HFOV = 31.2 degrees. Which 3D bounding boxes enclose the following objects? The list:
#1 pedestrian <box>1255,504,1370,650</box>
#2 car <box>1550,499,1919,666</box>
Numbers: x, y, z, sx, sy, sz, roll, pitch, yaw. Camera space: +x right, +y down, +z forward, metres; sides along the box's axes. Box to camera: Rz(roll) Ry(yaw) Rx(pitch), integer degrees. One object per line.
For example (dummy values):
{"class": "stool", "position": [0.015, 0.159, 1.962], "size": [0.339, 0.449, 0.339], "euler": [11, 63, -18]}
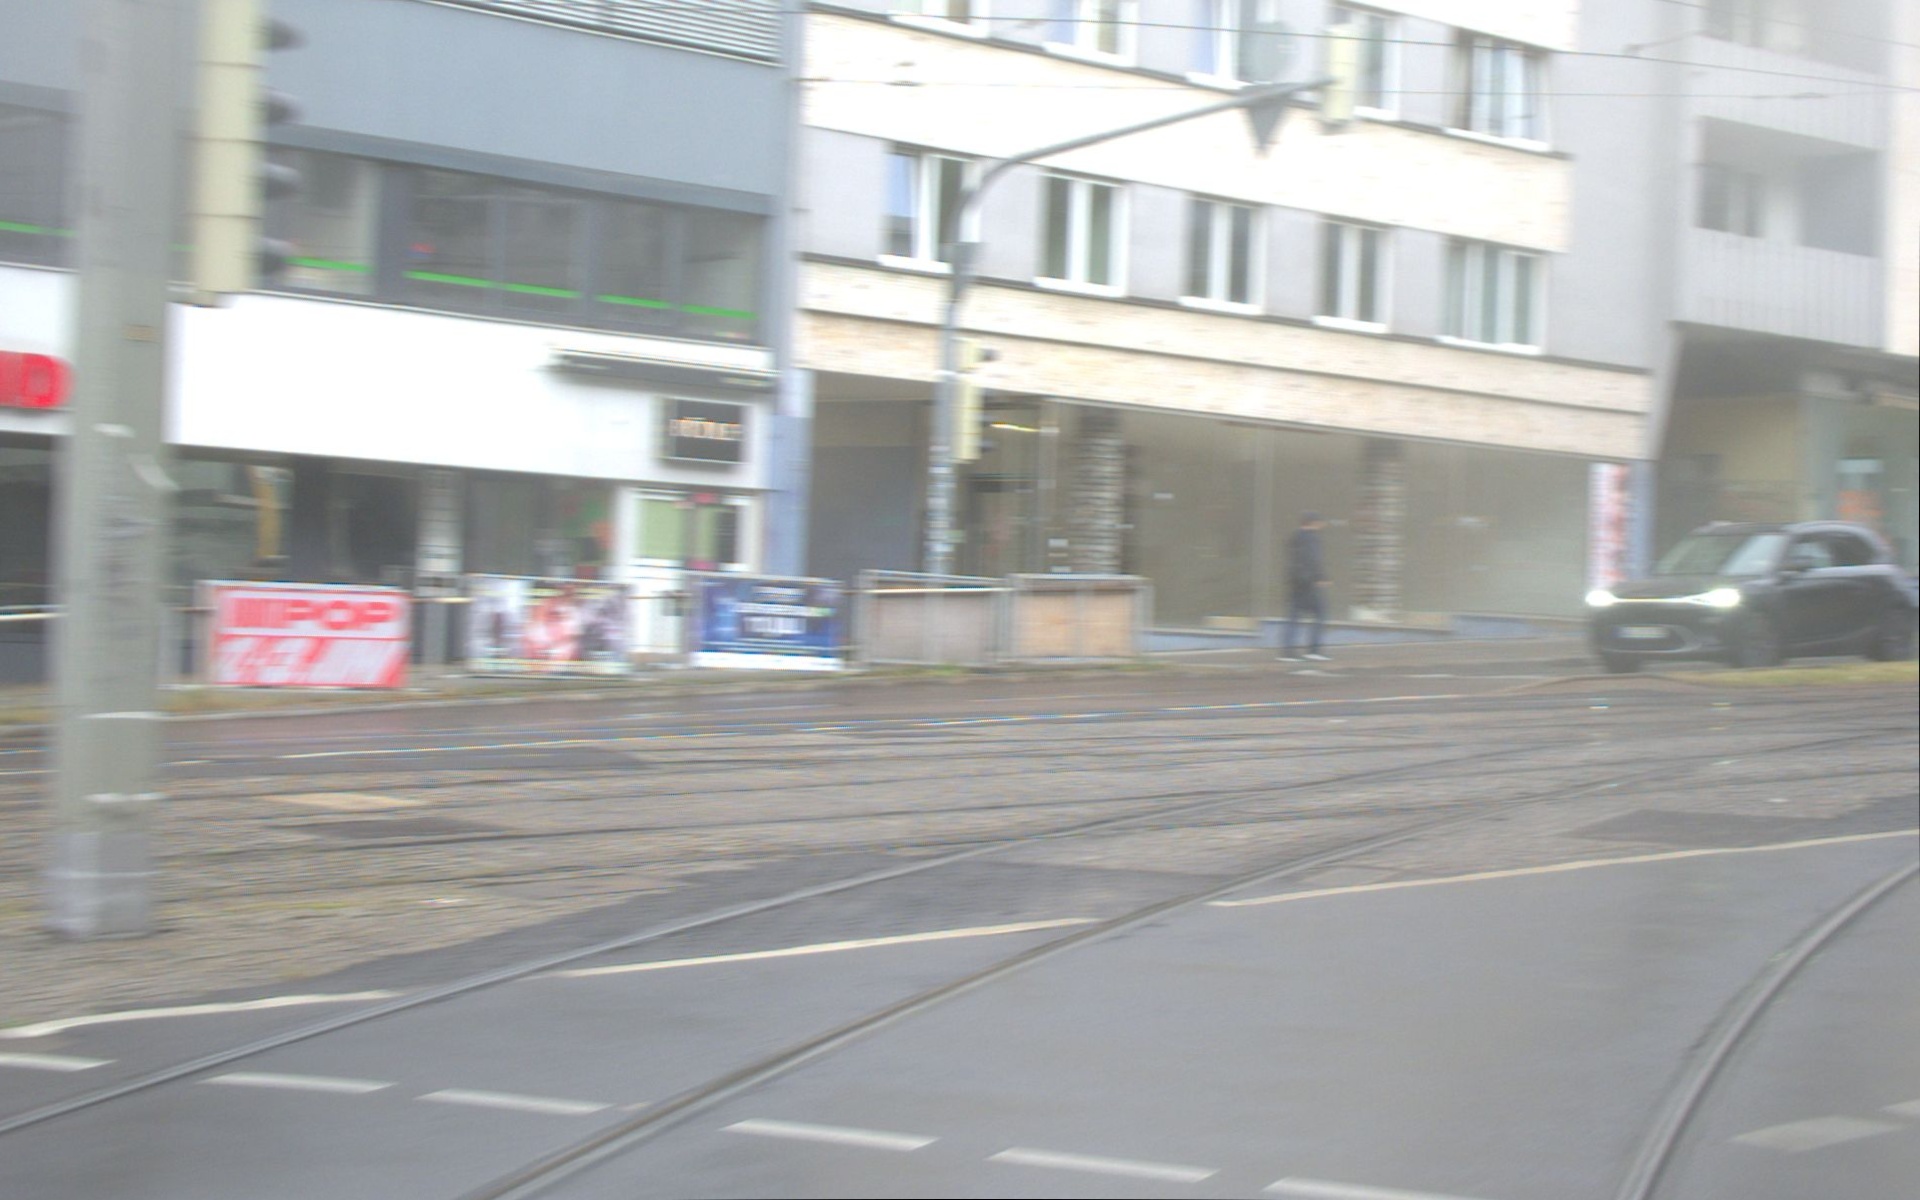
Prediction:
{"class": "pedestrian", "position": [4.107, -0.276, 40.041], "size": [0.995, 1.675, 0.890], "euler": [0, 1, -39]}
{"class": "car", "position": [8.503, -0.206, 36.554], "size": [4.514, 1.667, 1.999], "euler": [-1, 1, -41]}
